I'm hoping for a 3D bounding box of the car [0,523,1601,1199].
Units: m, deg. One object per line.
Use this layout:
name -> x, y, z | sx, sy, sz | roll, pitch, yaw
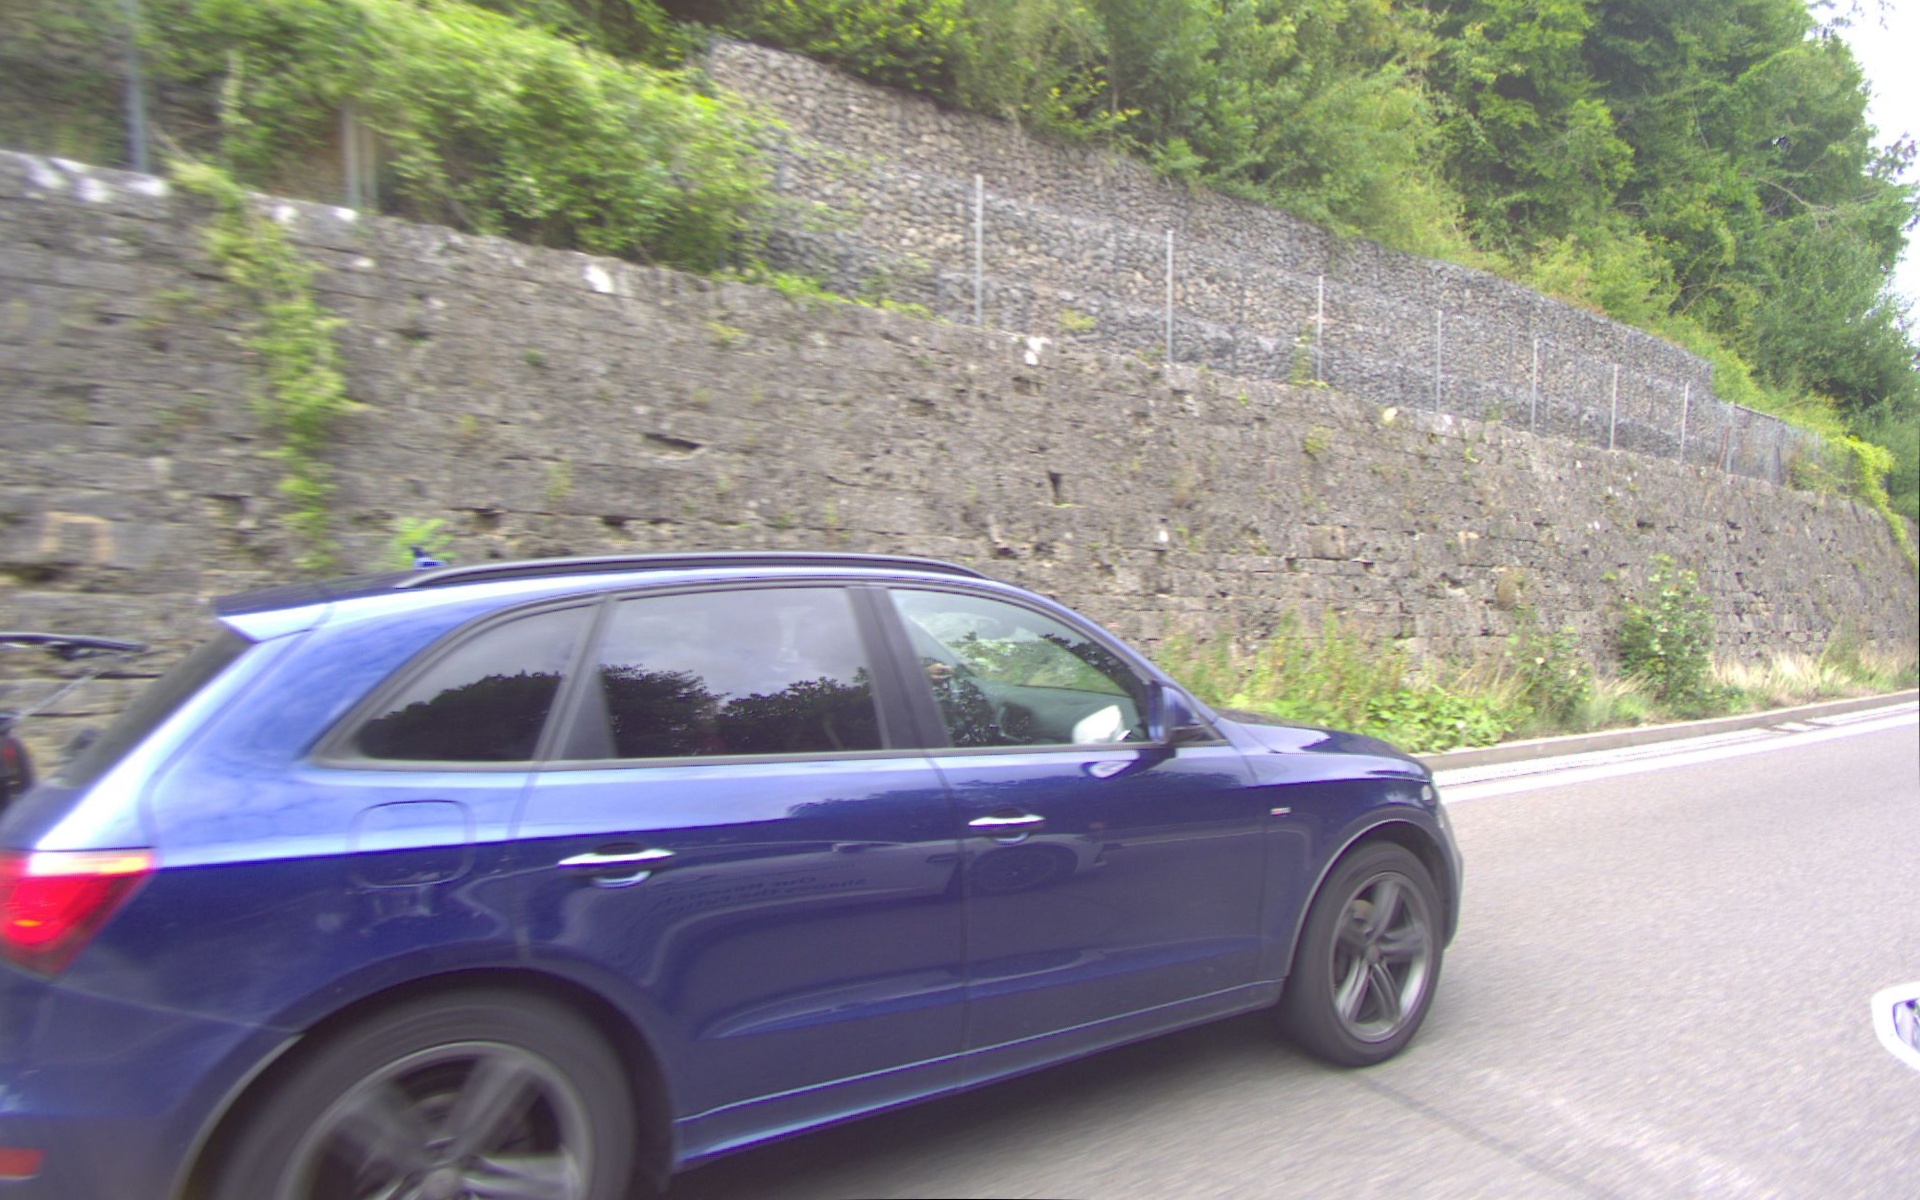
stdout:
car -> -0.527, 0.696, 3.234 | 5.519, 1.614, 1.962 | 2, 2, -30
